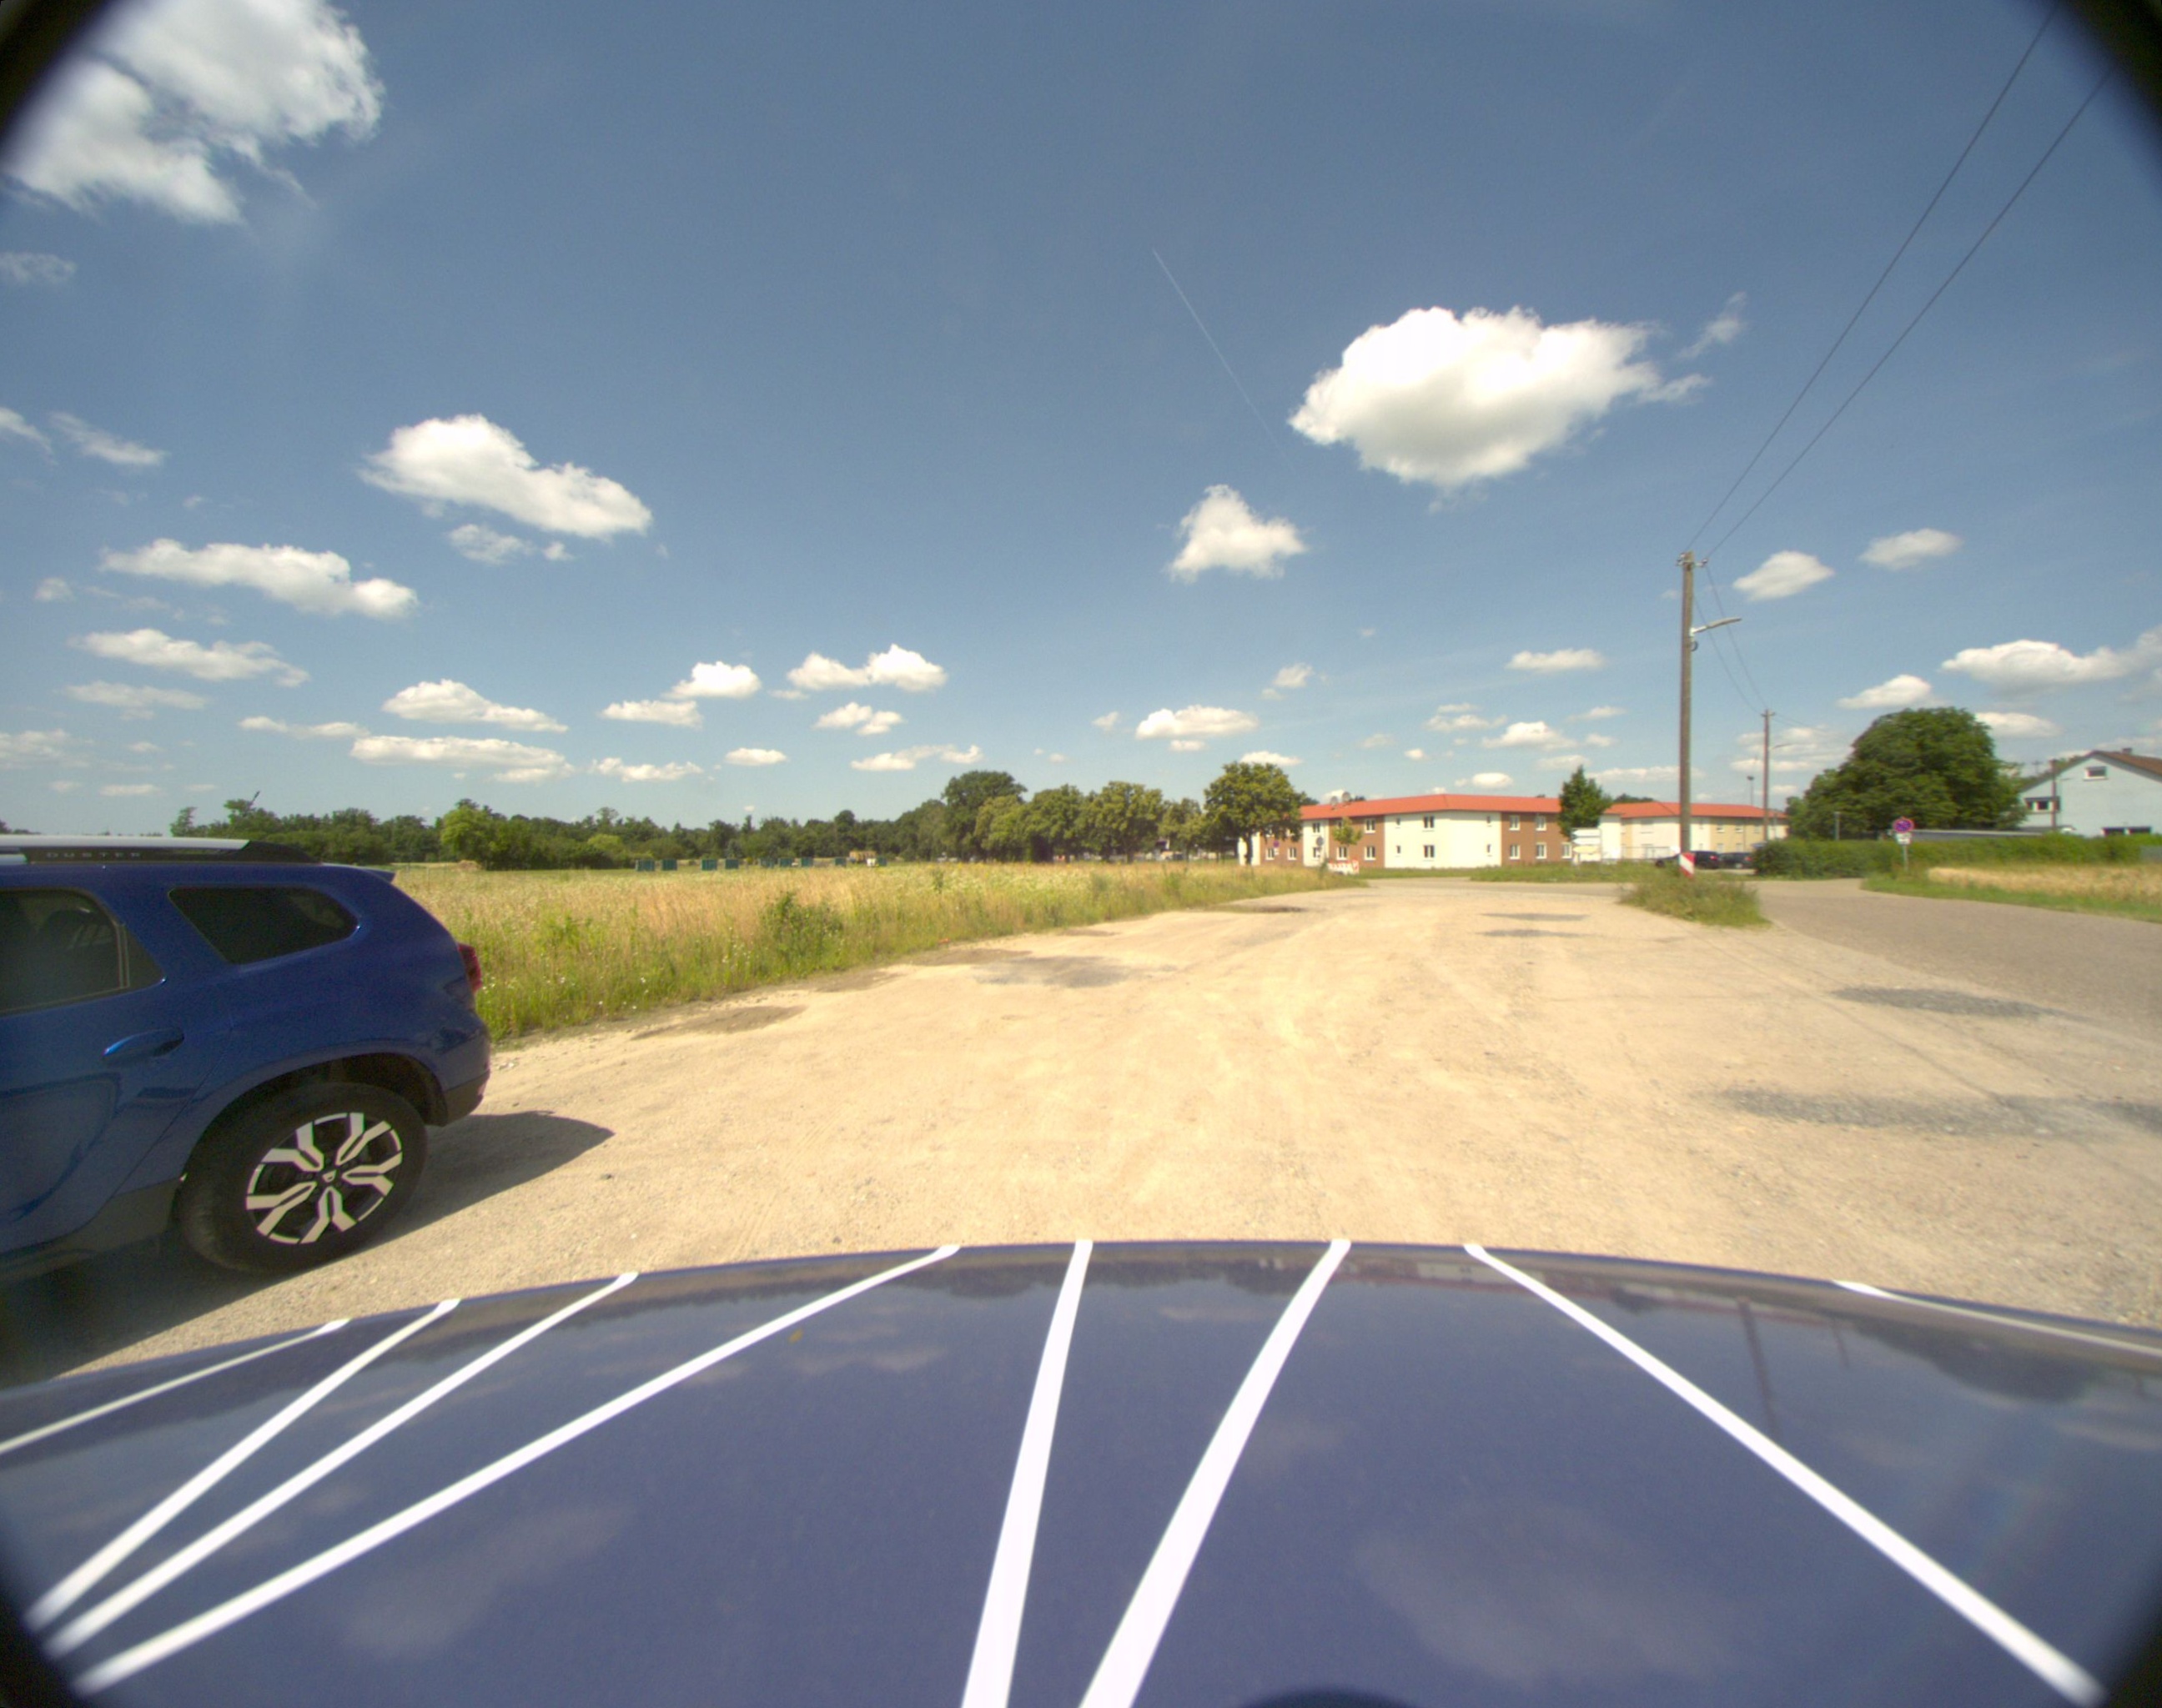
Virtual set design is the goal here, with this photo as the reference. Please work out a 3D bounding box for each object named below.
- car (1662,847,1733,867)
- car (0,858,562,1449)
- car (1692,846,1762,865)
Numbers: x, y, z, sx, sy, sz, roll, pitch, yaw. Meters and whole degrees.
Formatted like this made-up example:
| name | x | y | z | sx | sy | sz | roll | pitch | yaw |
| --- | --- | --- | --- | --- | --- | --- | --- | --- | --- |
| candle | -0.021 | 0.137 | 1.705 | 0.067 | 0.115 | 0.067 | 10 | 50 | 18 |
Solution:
| name | x | y | z | sx | sy | sz | roll | pitch | yaw |
| --- | --- | --- | --- | --- | --- | --- | --- | --- | --- |
| car | 51.627 | 0.237 | 63.718 | 2.003 | 1.605 | 4.139 | 0 | 0 | -26 |
| car | -4.197 | 0.919 | 1.922 | 1.860 | 1.651 | 4.464 | -1 | 1 | 19 |
| car | 55.318 | 0.103 | 65.122 | 2.003 | 1.605 | 4.139 | 0 | 0 | -26 |
